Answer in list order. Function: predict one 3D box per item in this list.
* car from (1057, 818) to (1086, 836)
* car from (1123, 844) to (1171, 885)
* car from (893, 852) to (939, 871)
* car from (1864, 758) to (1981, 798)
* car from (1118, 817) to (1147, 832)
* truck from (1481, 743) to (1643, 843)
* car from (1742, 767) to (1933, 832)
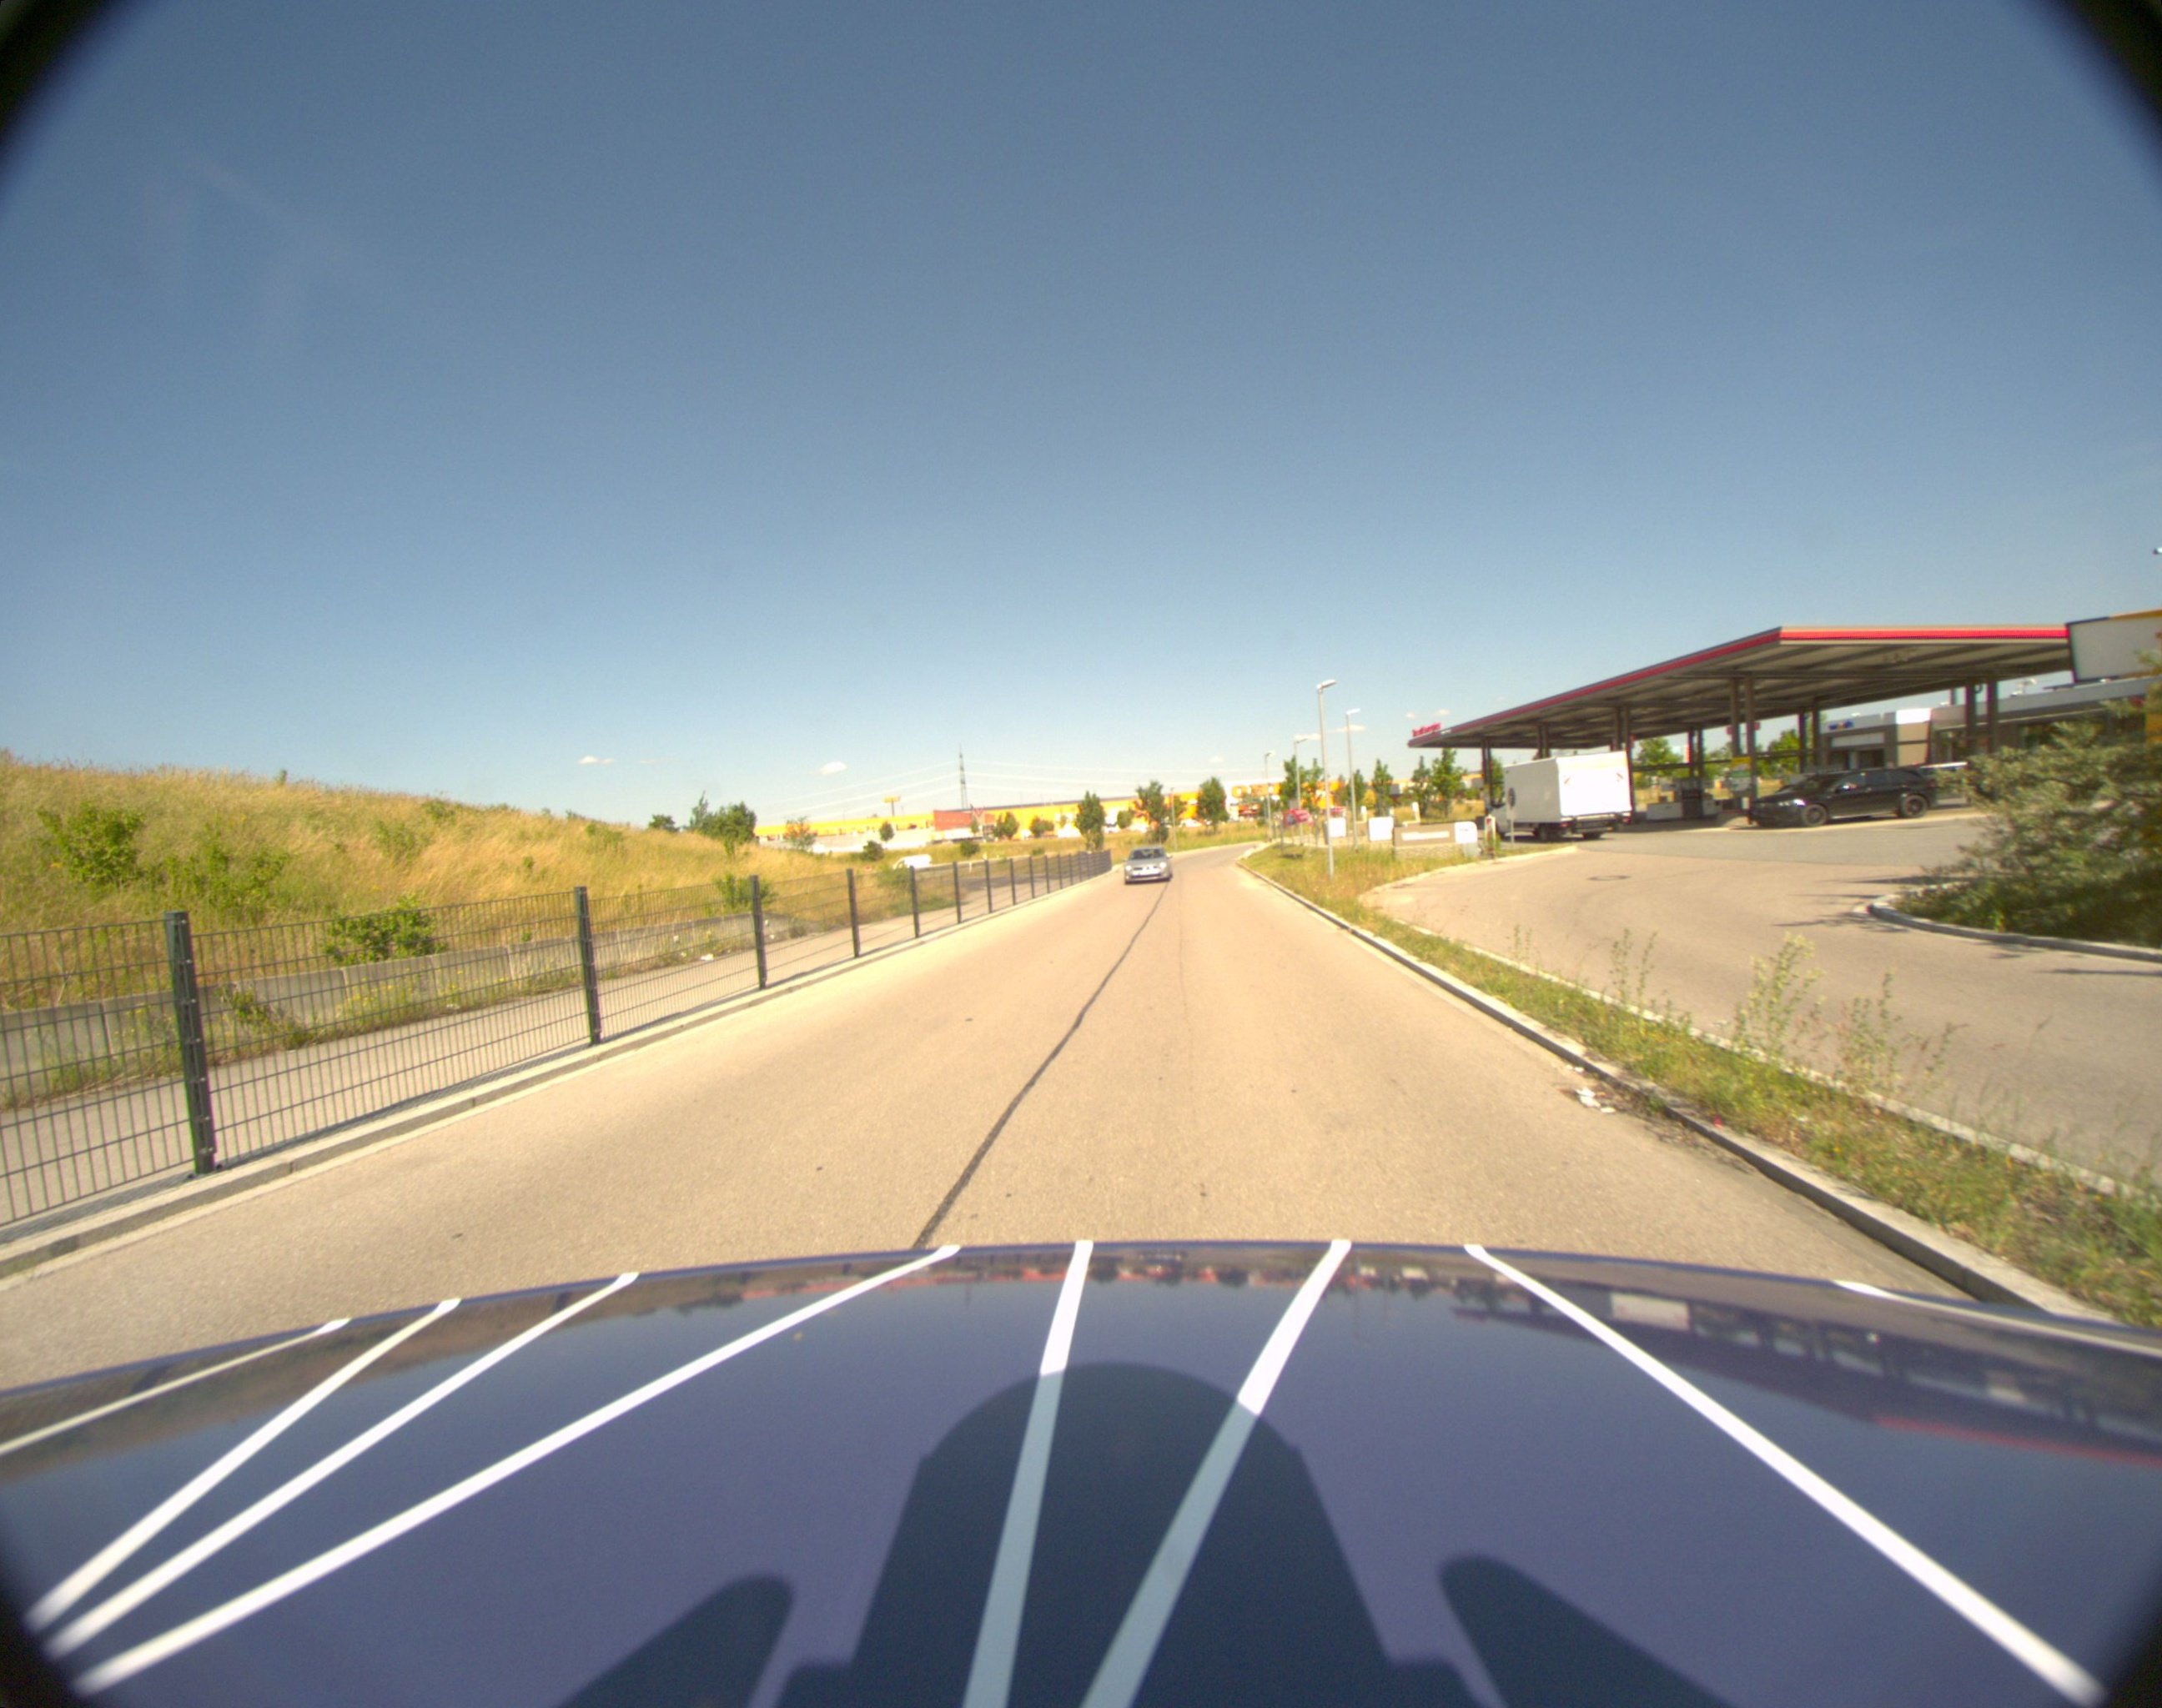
[{"bbox_3d":[-1.582,-4.509,128.032,4.632,2.534,2.000,-5,1,3],"label":"car"},{"bbox_3d":[2.714,0.359,30.728,1.745,1.460,3.961,-2,1,6],"label":"car"},{"bbox_3d":[-20.976,0.933,96.564,5.250,2.002,2.000,-5,1,2],"label":"car"},{"bbox_3d":[43.260,-3.886,39.127,3.680,1.565,1.697,-4,1,14],"label":"car"},{"bbox_3d":[8.602,-4.935,127.020,4.632,2.002,2.000,-5,1,3],"label":"car"},{"bbox_3d":[18.864,-2.247,30.378,2.638,3.299,6.908,-4,1,8],"label":"truck"},{"bbox_3d":[25.590,-1.823,25.828,4.517,1.748,1.796,-5,1,3],"label":"car"}]
